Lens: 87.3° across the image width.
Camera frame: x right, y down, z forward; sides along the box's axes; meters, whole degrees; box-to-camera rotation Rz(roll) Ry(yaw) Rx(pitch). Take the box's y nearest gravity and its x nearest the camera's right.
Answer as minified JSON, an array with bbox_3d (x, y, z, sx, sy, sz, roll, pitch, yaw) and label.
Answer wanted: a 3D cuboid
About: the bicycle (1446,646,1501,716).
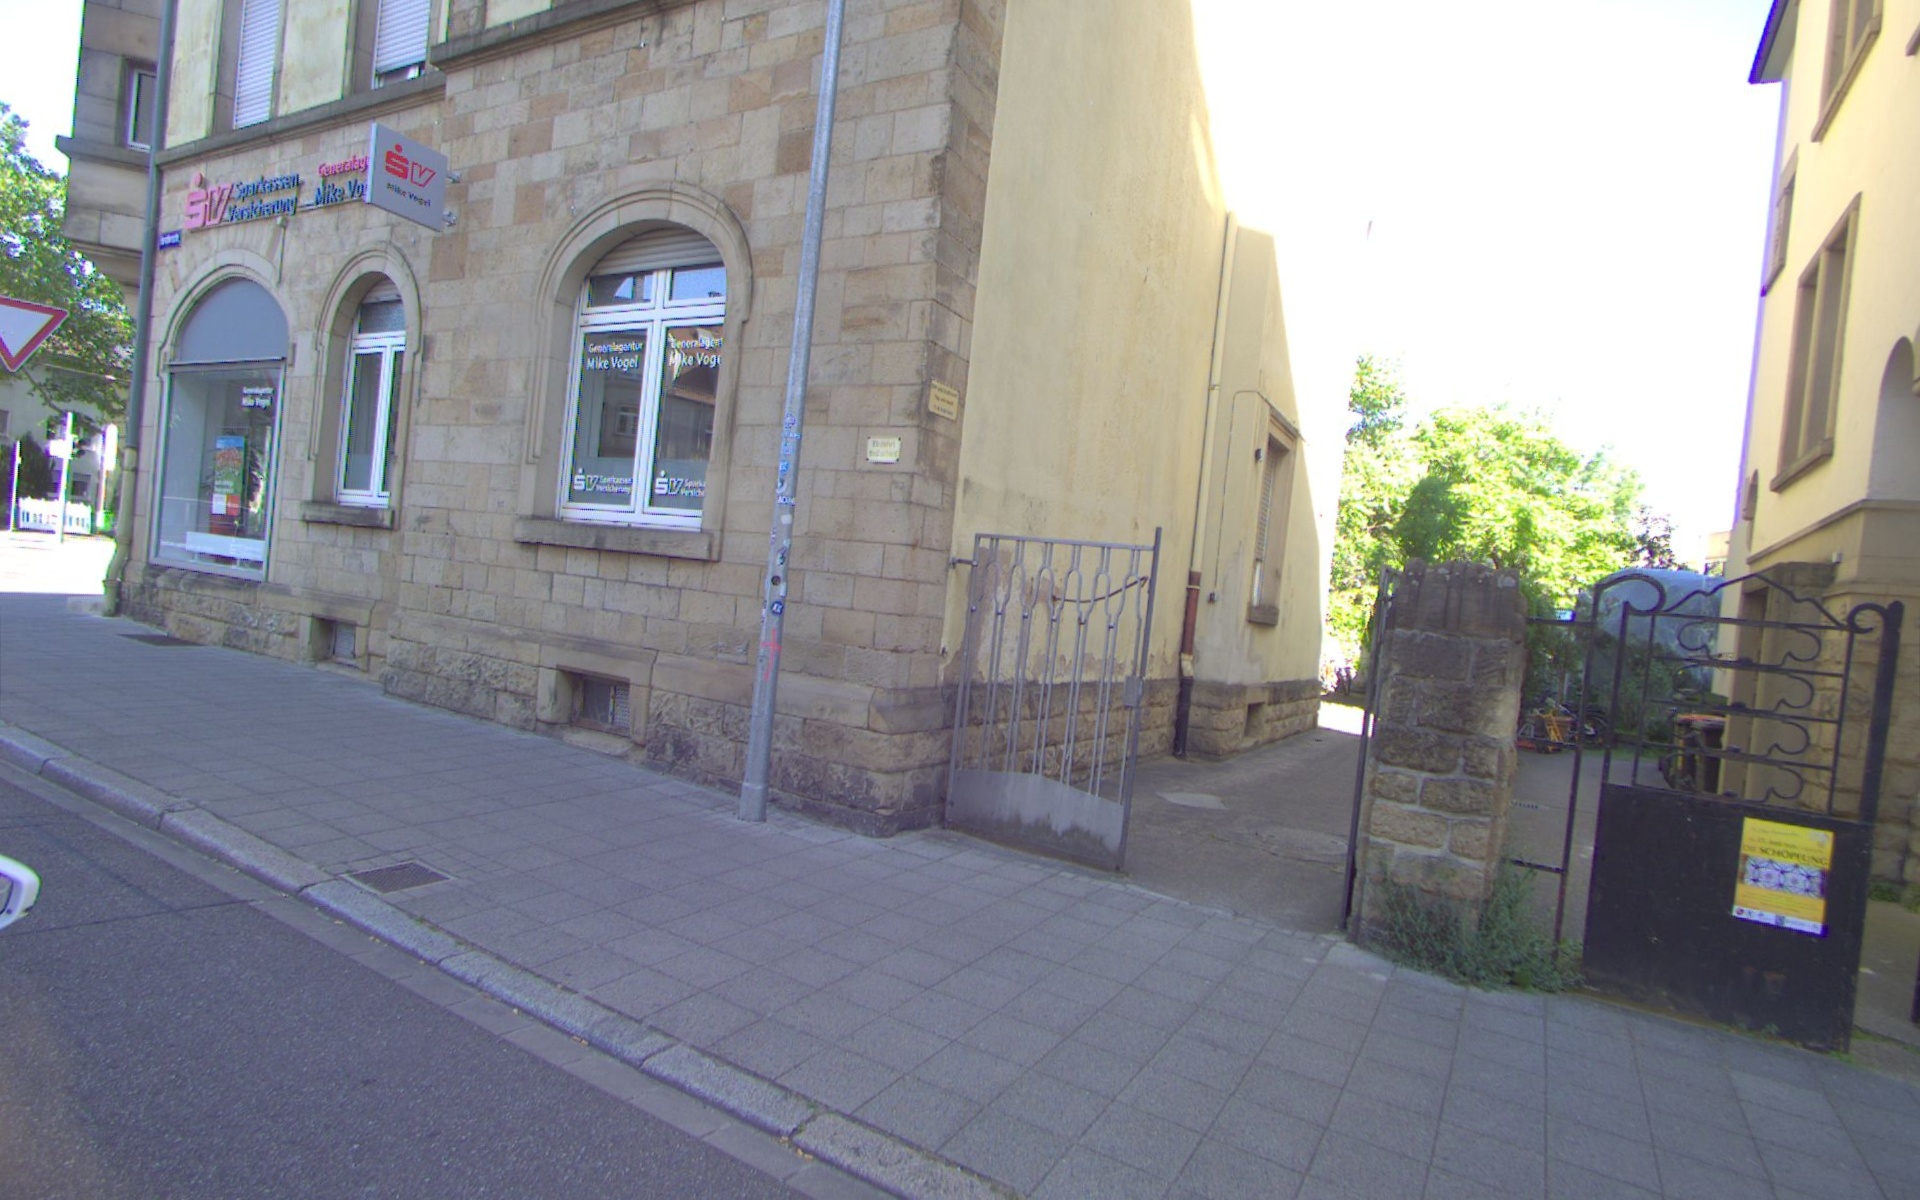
[{"bbox_3d":[12.602,1.934,24.637,0.904,1.532,2.667,6,2,31],"label":"bicycle"}]

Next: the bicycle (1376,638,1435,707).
[{"bbox_3d":[11.217,1.775,25.251,0.904,1.532,2.667,6,2,31],"label":"bicycle"}]

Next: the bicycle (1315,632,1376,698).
[{"bbox_3d":[9.984,1.640,25.967,0.904,1.532,2.667,6,2,31],"label":"bicycle"}]
